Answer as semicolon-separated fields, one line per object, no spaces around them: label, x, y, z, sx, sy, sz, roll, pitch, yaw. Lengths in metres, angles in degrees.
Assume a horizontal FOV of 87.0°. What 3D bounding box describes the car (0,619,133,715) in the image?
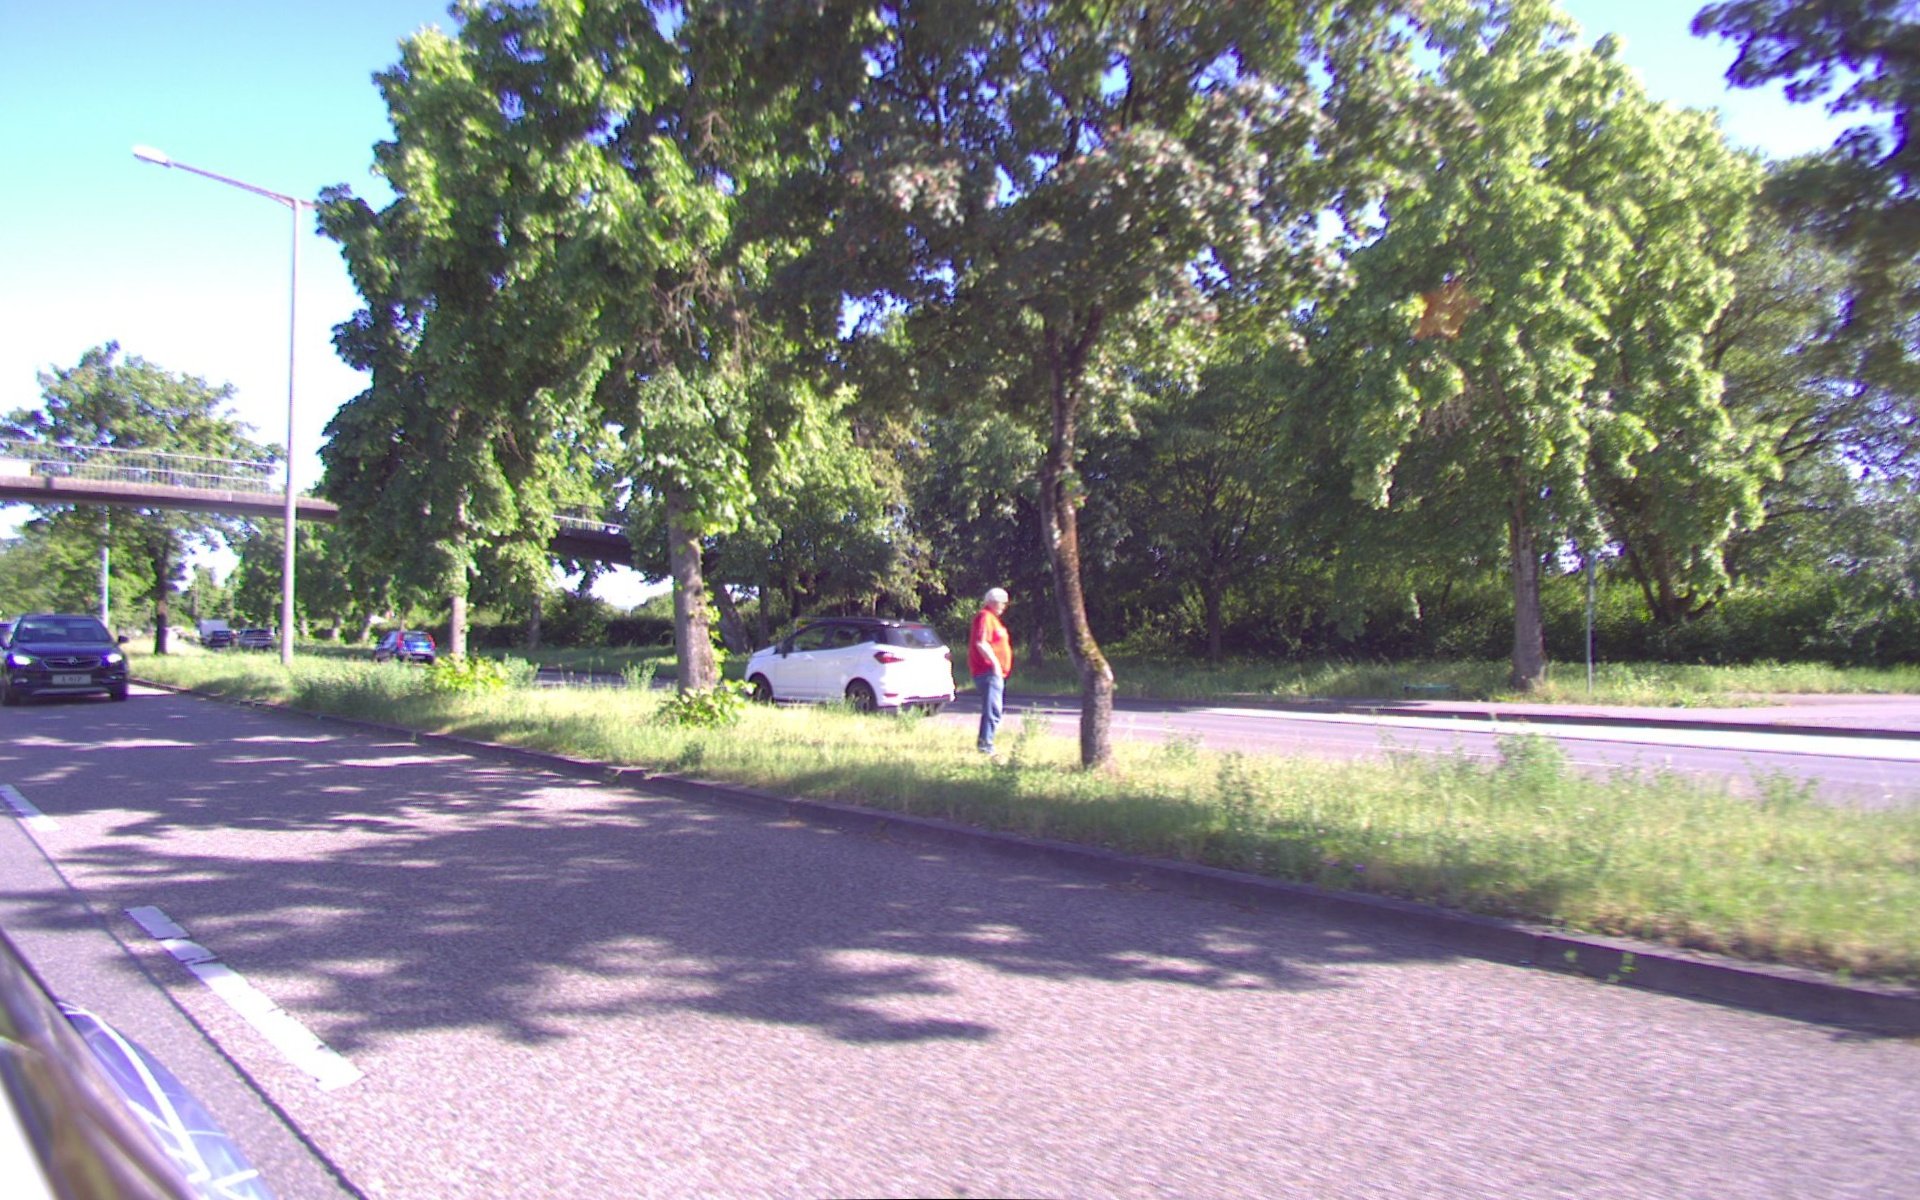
car;-17.353;1.200;19.350;4.515;1.627;1.786;-1;-2;43

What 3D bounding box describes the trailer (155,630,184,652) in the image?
trailer;-71.383;3.721;91.375;1.544;1.925;4.285;2;-3;-45

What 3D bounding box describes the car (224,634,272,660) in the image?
car;-48.077;3.157;68.335;4.902;1.659;1.712;-2;-5;44

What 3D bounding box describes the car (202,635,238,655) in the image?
car;-60.986;3.693;83.392;1.729;1.632;4.581;2;-3;-45

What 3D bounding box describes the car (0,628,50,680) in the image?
car;-30.794;1.729;32.782;1.796;1.574;4.653;1;-3;-40

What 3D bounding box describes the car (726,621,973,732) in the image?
car;-1.946;1.213;17.015;4.194;1.644;1.712;-2;-3;40

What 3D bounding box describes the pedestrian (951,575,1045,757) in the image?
pedestrian;0.361;0.635;10.087;0.621;1.709;0.946;0;-2;-19

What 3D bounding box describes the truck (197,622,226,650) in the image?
truck;-73.411;3.562;99.247;2.144;2.532;5.754;4;-5;-37

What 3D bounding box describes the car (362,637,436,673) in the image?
car;-24.123;2.342;43.450;4.256;1.442;1.523;-2;-4;43
